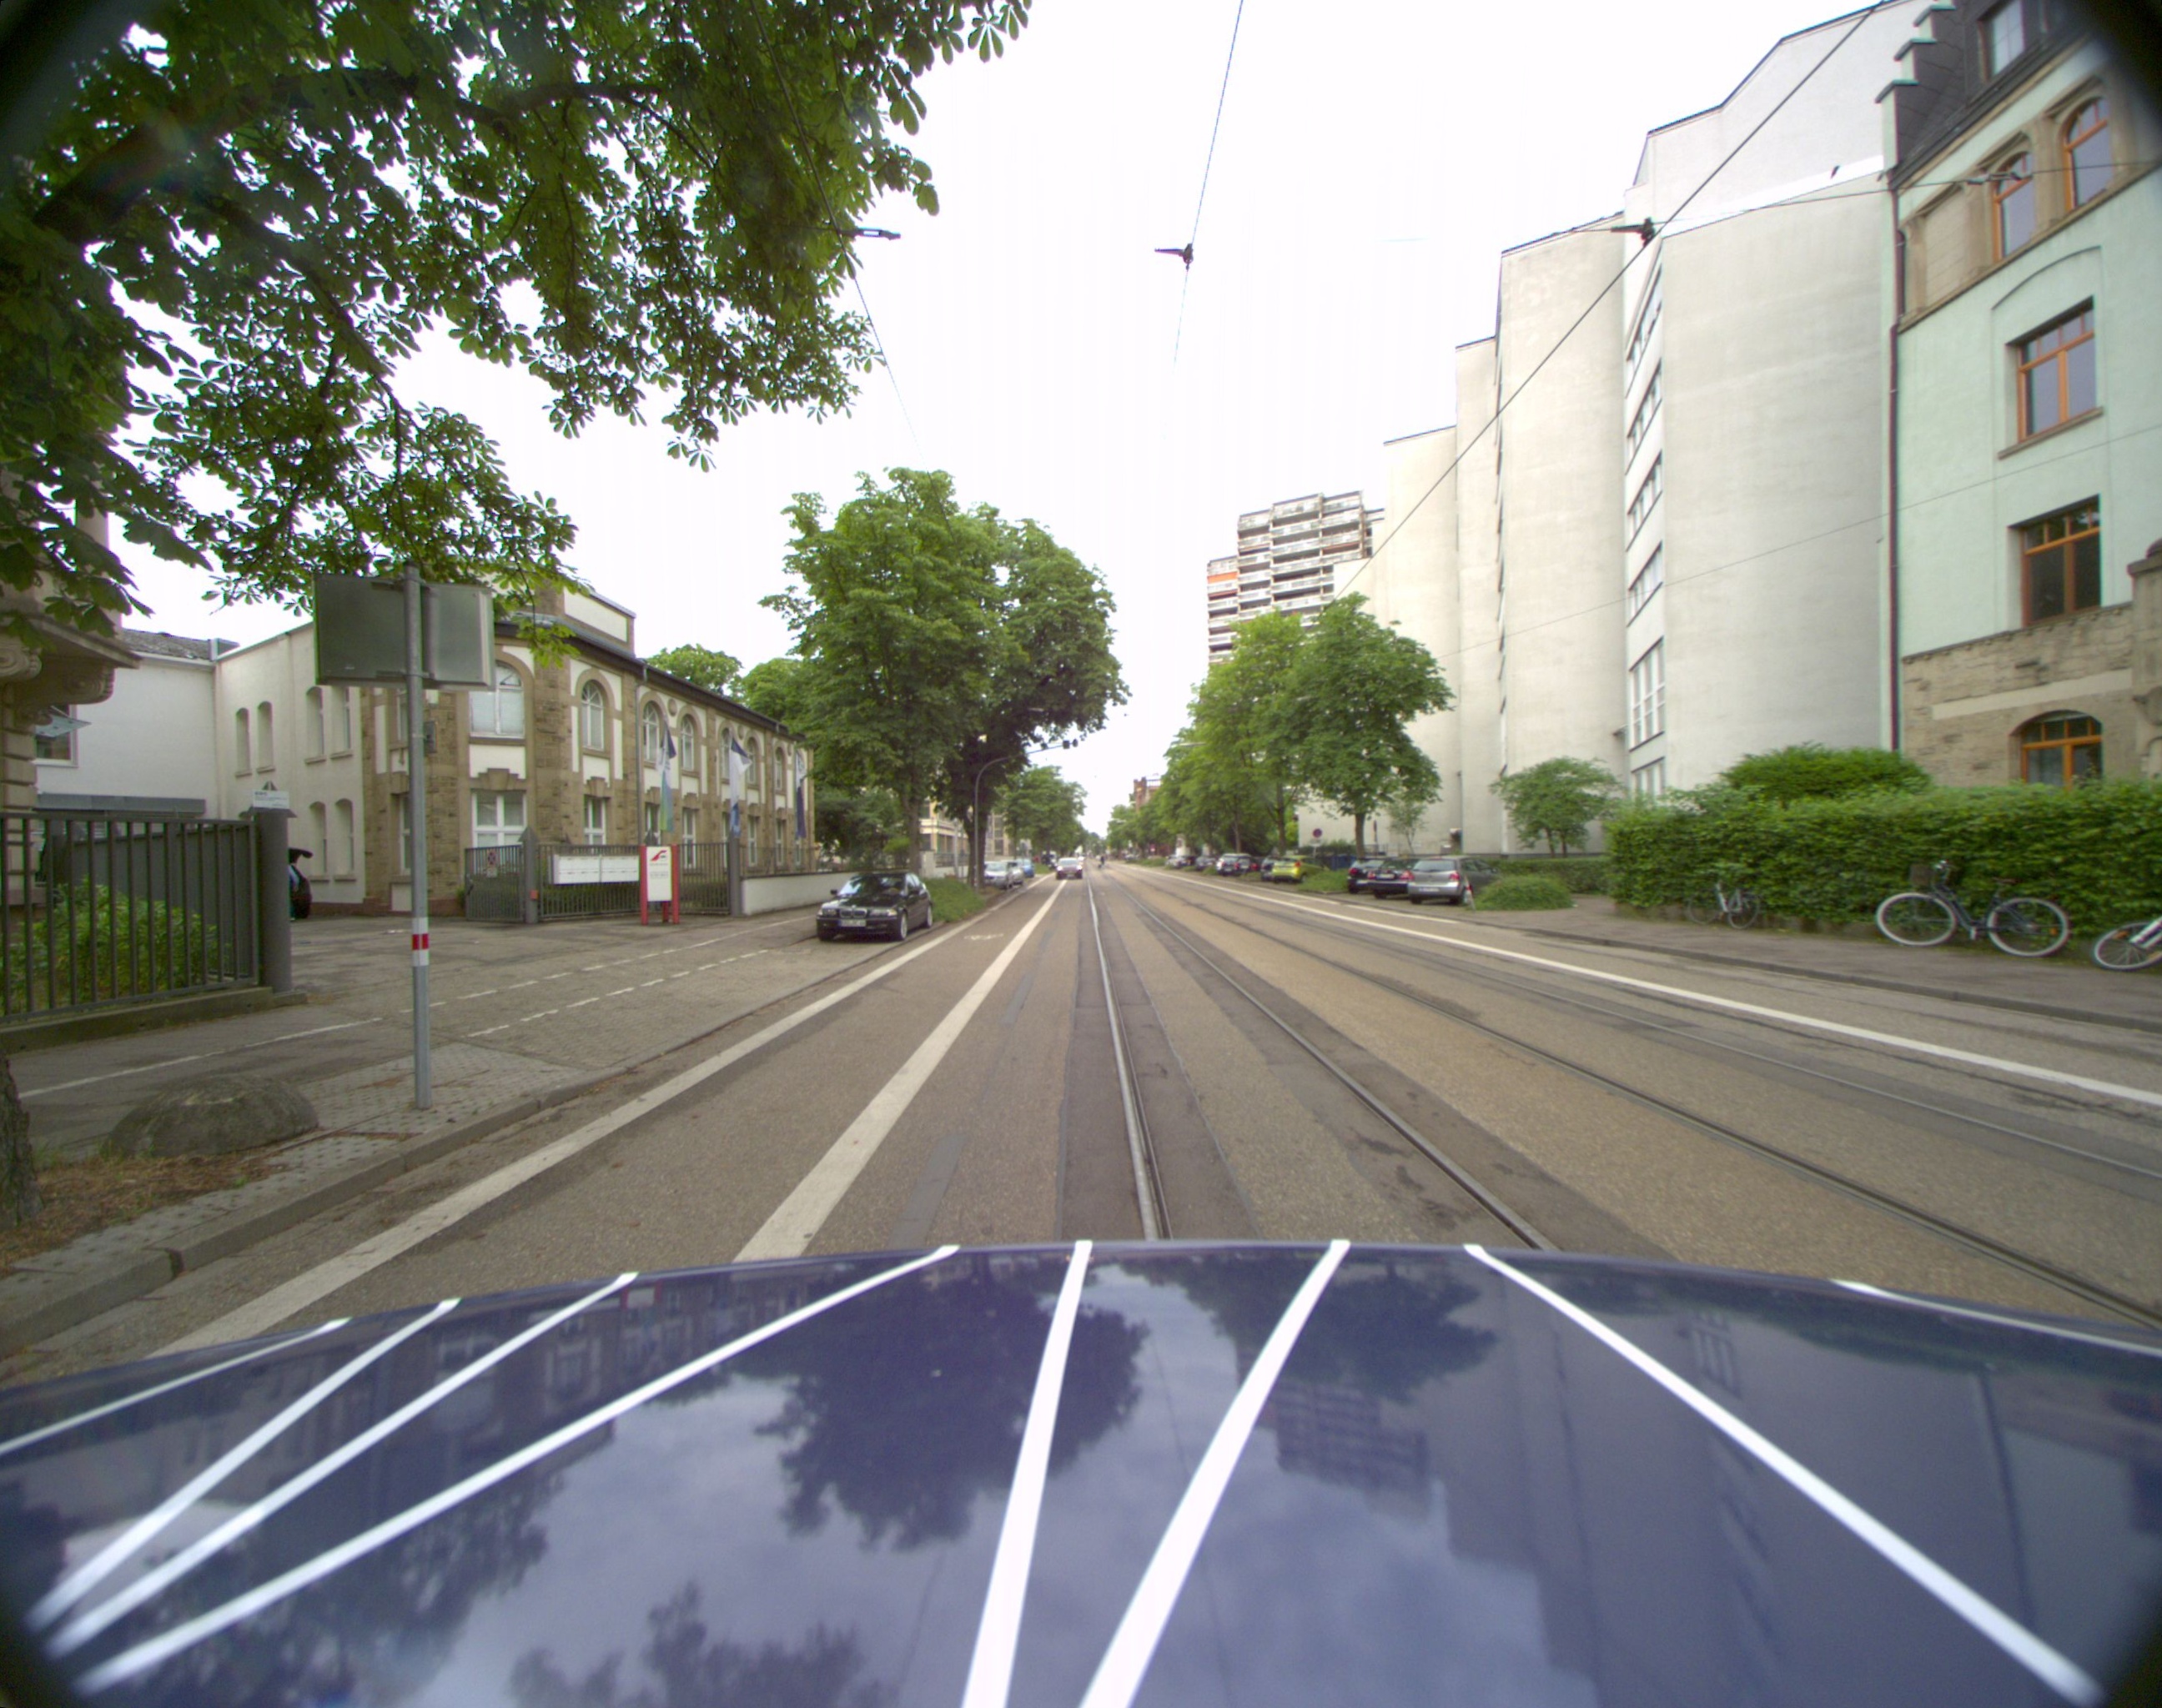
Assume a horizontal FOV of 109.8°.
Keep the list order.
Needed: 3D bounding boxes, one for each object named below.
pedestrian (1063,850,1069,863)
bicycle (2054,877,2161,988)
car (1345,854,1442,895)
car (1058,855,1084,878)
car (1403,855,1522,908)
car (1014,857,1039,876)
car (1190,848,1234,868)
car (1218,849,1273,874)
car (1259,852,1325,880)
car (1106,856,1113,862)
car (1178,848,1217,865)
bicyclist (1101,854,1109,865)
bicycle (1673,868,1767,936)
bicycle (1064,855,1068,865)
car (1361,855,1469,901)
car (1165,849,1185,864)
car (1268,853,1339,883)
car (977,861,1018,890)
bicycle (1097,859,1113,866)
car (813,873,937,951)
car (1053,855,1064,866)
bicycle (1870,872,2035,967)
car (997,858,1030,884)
[{"bbox_3d":[-1.770,0.327,88.955,0.684,1.541,0.704,-1,1,1],"label":"pedestrian"},{"bbox_3d":[11.058,0.804,7.726,0.360,1.077,1.546,-1,0,1],"label":"bicycle"},{"bbox_3d":[11.897,0.728,28.821,4.008,1.395,1.691,-1,0,-39],"label":"car"},{"bbox_3d":[-0.660,0.816,52.554,1.606,1.427,3.777,-3,0,2],"label":"car"},{"bbox_3d":[11.515,0.771,22.863,4.008,1.395,1.691,-1,0,-39],"label":"car"},{"bbox_3d":[-4.195,0.927,58.734,1.606,1.362,3.837,1,0,1],"label":"car"},{"bbox_3d":[11.366,0.346,65.771,4.008,1.611,1.690,-1,0,-43],"label":"car"},{"bbox_3d":[11.255,0.510,51.831,4.008,1.611,1.690,-1,0,-43],"label":"car"},{"bbox_3d":[11.721,0.642,42.103,4.008,1.434,1.690,-1,0,-43],"label":"car"},{"bbox_3d":[9.210,1.603,245.513,1.906,2.002,3.999,-2,1,1],"label":"car"},{"bbox_3d":[11.539,0.236,75.075,4.008,1.611,1.690,-1,0,-43],"label":"car"},{"bbox_3d":[2.765,0.654,88.374,0.875,1.247,0.752,-1,1,-1],"label":"bicyclist"},{"bbox_3d":[11.180,0.810,13.347,0.360,1.077,1.546,-1,0,1],"label":"bicycle"},{"bbox_3d":[-1.749,0.702,88.987,0.414,1.197,1.707,-1,0,1],"label":"bicycle"},{"bbox_3d":[11.335,0.762,25.717,4.008,1.395,1.691,-1,0,-39],"label":"car"},{"bbox_3d":[10.528,0.301,85.380,1.694,1.611,3.999,-1,0,-1],"label":"car"},{"bbox_3d":[11.471,0.691,39.056,4.008,1.387,1.690,-1,0,-43],"label":"car"},{"bbox_3d":[-4.251,1.054,39.081,1.606,1.362,3.837,1,0,1],"label":"car"},{"bbox_3d":[2.798,0.968,88.336,1.889,0.784,0.568,-1,1,-1],"label":"bicycle"},{"bbox_3d":[-4.319,1.158,16.508,1.606,1.362,3.837,1,0,1],"label":"car"},{"bbox_3d":[-3.732,1.071,128.369,1.723,1.691,3.372,-1,0,1],"label":"car"},{"bbox_3d":[11.162,0.798,9.806,0.360,1.077,1.546,-1,0,1],"label":"bicycle"},{"bbox_3d":[-4.065,1.008,46.219,1.606,1.416,3.837,1,0,1],"label":"car"}]
